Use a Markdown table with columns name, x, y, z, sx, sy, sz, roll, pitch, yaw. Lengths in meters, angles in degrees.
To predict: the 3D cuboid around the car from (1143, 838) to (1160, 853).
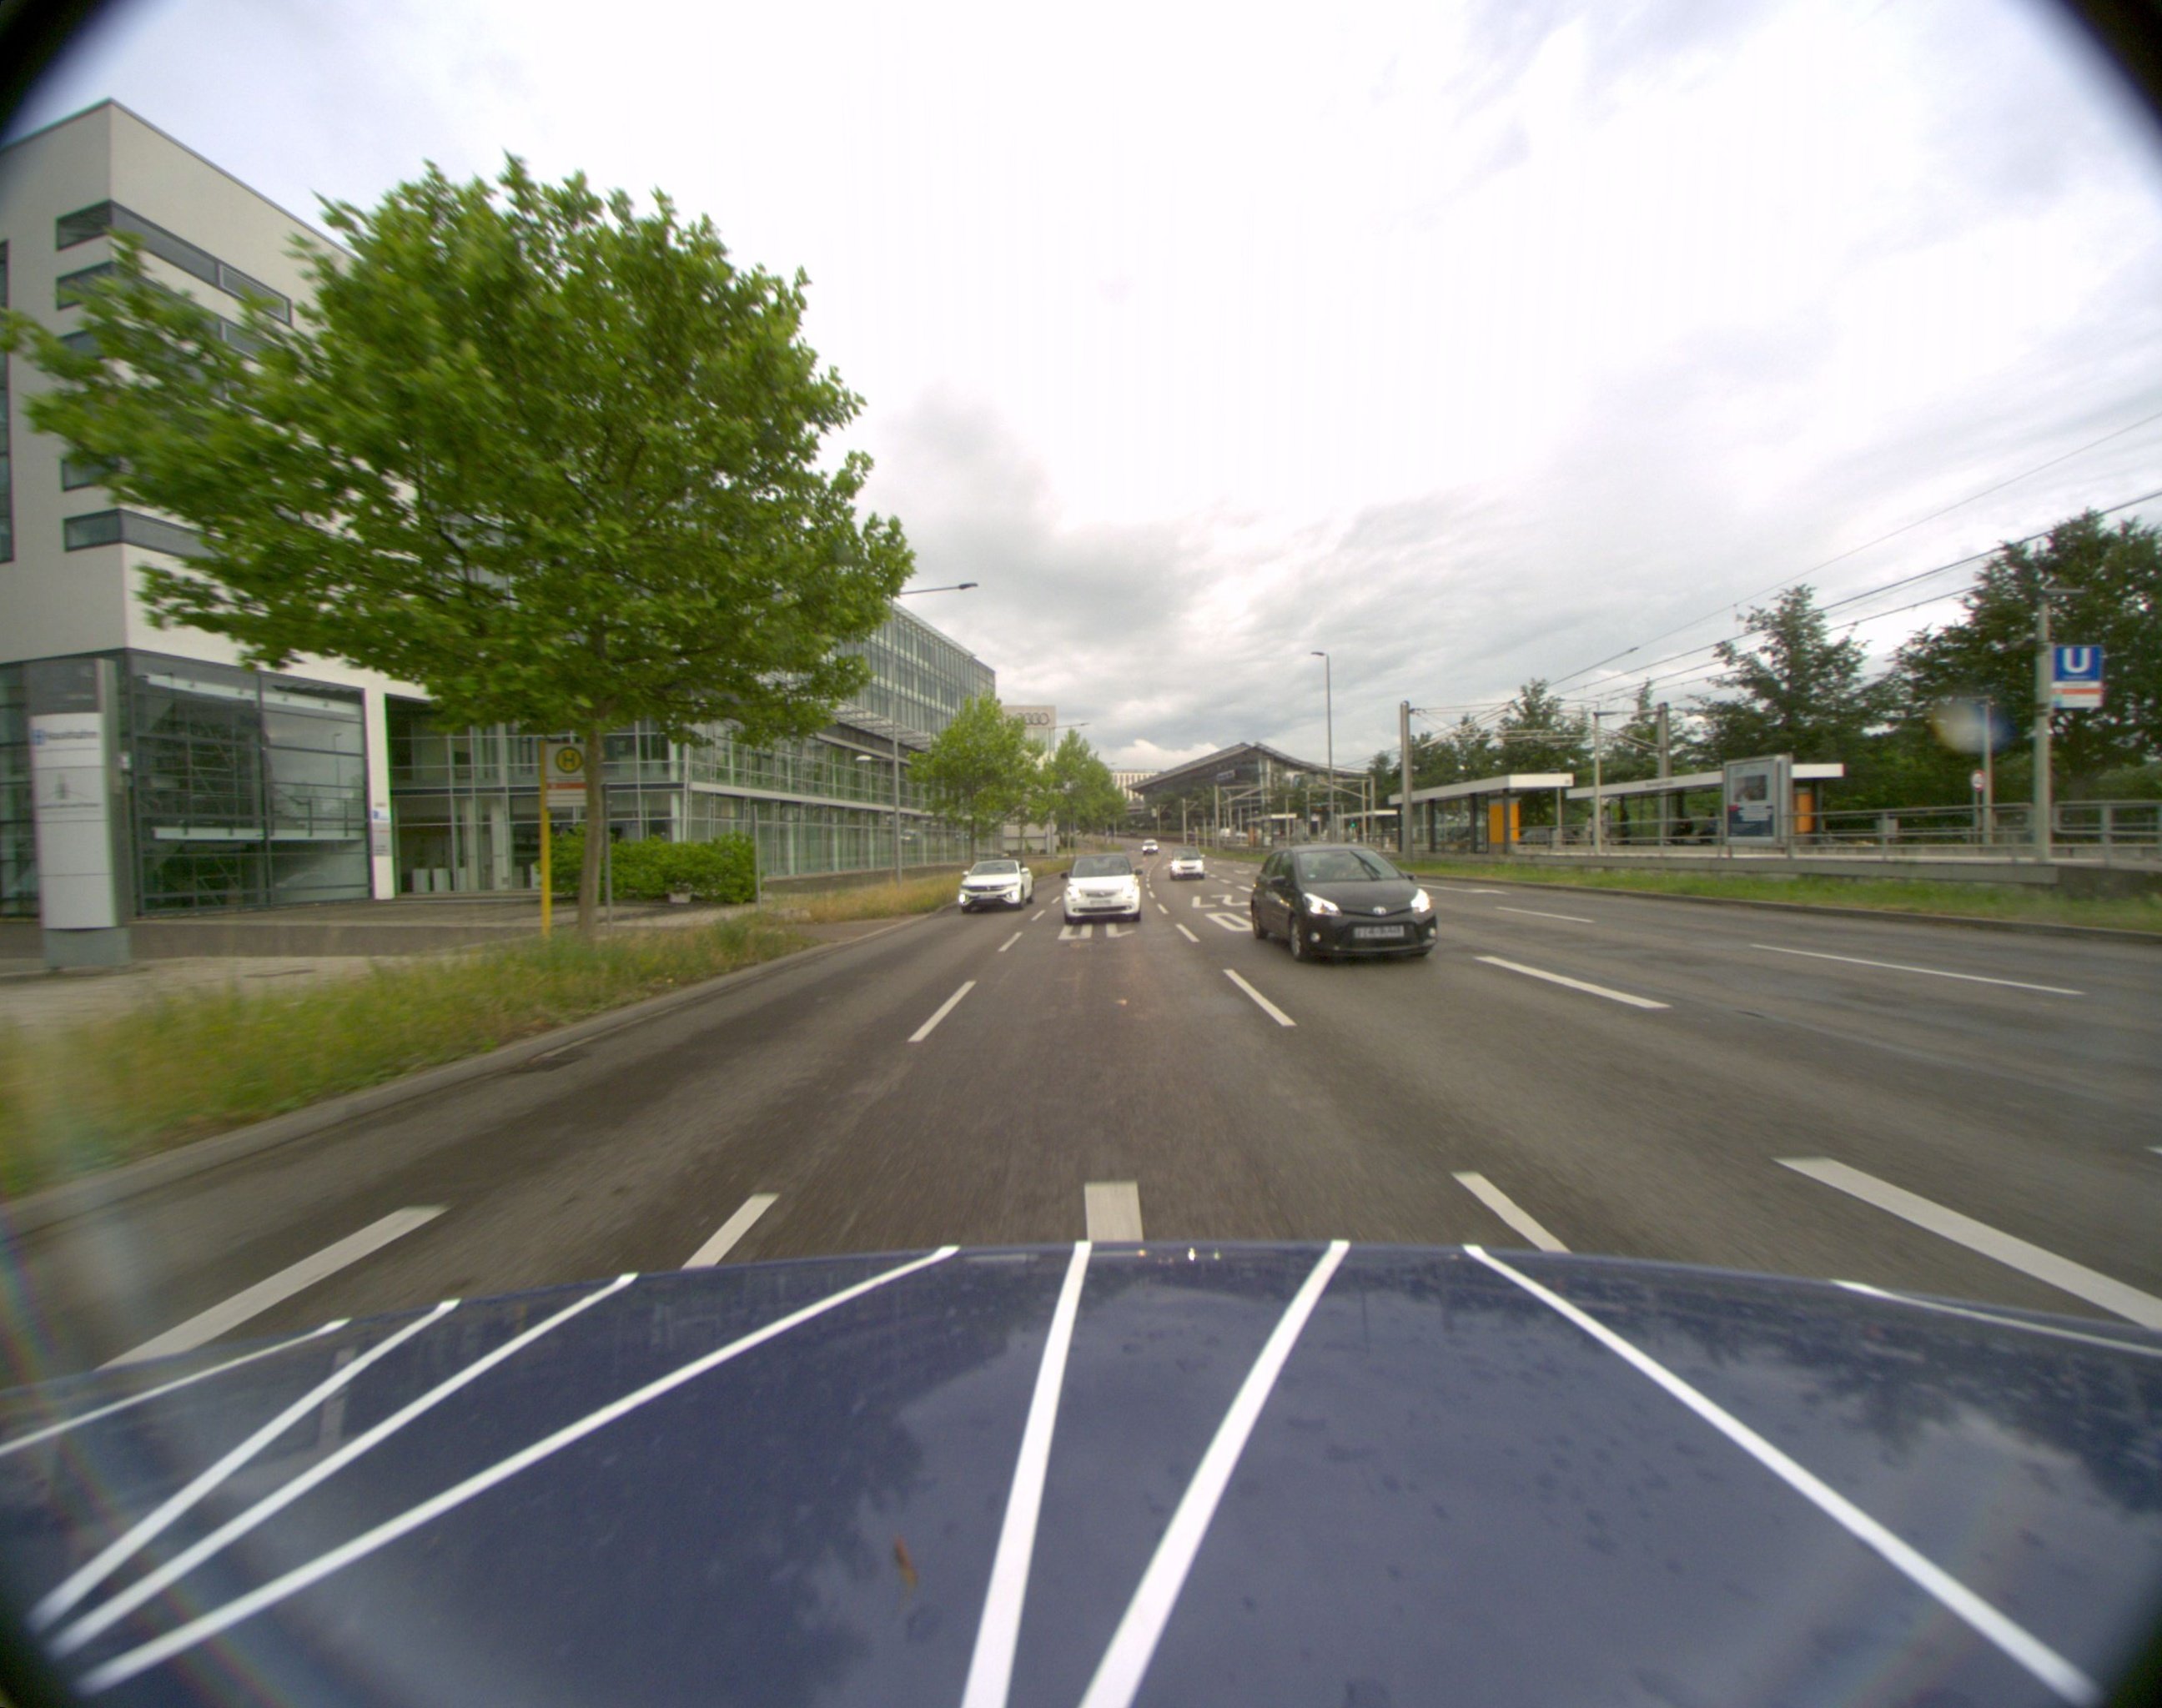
| name | x | y | z | sx | sy | sz | roll | pitch | yaw |
| --- | --- | --- | --- | --- | --- | --- | --- | --- | --- |
| car | 8.850 | -1.048 | 94.758 | 1.828 | 1.701 | 4.155 | -4 | 2 | 8 |

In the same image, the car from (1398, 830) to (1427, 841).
| name | x | y | z | sx | sy | sz | roll | pitch | yaw |
| --- | --- | --- | --- | --- | --- | --- | --- | --- | --- |
| car | 37.601 | -2.058 | 86.213 | 1.530 | 1.124 | 3.933 | -4 | 2 | -1 |

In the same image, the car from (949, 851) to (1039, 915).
| name | x | y | z | sx | sy | sz | roll | pitch | yaw |
| --- | --- | --- | --- | --- | --- | --- | --- | --- | --- |
| car | -2.543 | 0.808 | 23.088 | 1.998 | 1.669 | 3.822 | -3 | 1 | 3 |

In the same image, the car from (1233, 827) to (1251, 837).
| name | x | y | z | sx | sy | sz | roll | pitch | yaw |
| --- | --- | --- | --- | --- | --- | --- | --- | --- | --- |
| car | 29.352 | -4.029 | 138.737 | 1.998 | 1.721 | 5.028 | -4 | 2 | 0 |

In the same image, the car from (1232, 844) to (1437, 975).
| name | x | y | z | sx | sy | sz | roll | pitch | yaw |
| --- | --- | --- | --- | --- | --- | --- | --- | --- | --- |
| car | 3.495 | 0.678 | 11.275 | 1.697 | 1.514 | 3.904 | -3 | 0 | 0 |

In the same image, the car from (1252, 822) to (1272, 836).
| name | x | y | z | sx | sy | sz | roll | pitch | yaw |
| --- | --- | --- | --- | --- | --- | --- | --- | --- | --- |
| car | 29.161 | -4.039 | 122.522 | 1.998 | 2.202 | 5.142 | -4 | 2 | 2 |

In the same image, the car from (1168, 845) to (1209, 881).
| name | x | y | z | sx | sy | sz | roll | pitch | yaw |
| --- | --- | --- | --- | --- | --- | --- | --- | --- | --- |
| car | 5.160 | 0.396 | 36.273 | 1.739 | 1.470 | 4.002 | -3 | 1 | 9 |

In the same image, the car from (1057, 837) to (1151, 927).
| name | x | y | z | sx | sy | sz | roll | pitch | yaw |
| --- | --- | --- | --- | --- | --- | --- | --- | --- | --- |
| car | 0.545 | 0.585 | 17.426 | 1.805 | 1.712 | 4.001 | -4 | 0 | 2 |

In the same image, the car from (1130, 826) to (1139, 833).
| name | x | y | z | sx | sy | sz | roll | pitch | yaw |
| --- | --- | --- | --- | --- | --- | --- | --- | --- | --- |
| car | 15.174 | -6.990 | 215.245 | 1.999 | 1.837 | 3.998 | -4 | 2 | -2 |

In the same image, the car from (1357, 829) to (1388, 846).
| name | x | y | z | sx | sy | sz | roll | pitch | yaw |
| --- | --- | --- | --- | --- | --- | --- | --- | --- | --- |
| car | 30.632 | -1.754 | 79.978 | 1.532 | 1.657 | 4.268 | -4 | 2 | 1 |
